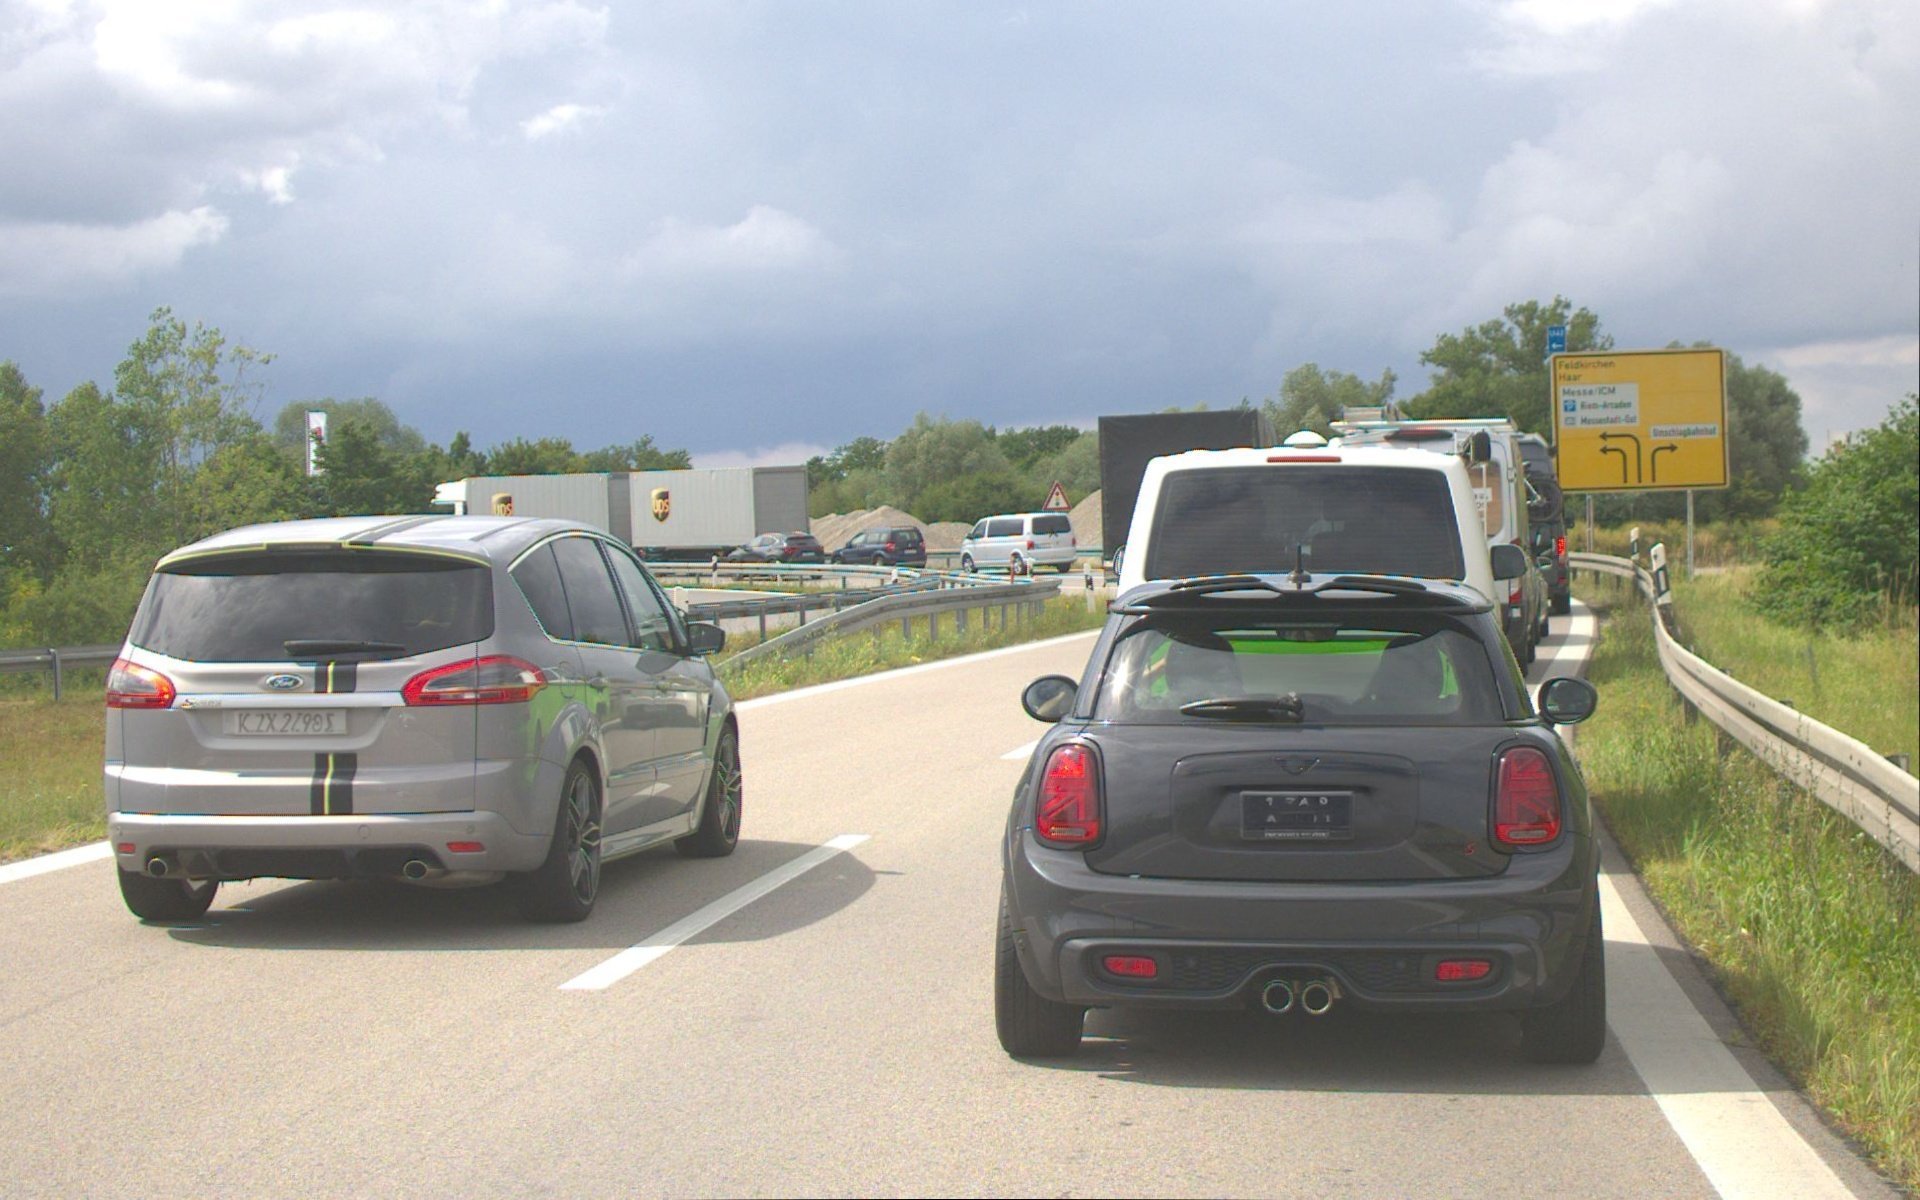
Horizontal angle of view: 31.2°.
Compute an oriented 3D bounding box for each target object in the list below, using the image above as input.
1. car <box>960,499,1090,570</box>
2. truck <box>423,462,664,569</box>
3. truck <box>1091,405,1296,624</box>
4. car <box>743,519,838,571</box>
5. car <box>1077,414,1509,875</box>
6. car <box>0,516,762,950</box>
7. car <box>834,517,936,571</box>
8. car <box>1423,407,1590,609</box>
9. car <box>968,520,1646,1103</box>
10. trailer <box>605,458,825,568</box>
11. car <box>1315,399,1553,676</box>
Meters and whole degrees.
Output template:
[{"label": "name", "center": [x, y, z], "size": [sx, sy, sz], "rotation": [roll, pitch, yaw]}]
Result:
[{"label": "car", "center": [2.105, -2.131, 113.300], "size": [2.289, 2.252, 5.108], "rotation": [1, 0, -25]}, {"label": "truck", "center": [-16.160, -3.248, 132.876], "size": [10.018, 3.962, 2.839], "rotation": [1, 0, 37]}, {"label": "truck", "center": [3.750, -1.256, 53.711], "size": [2.561, 3.157, 7.465], "rotation": [1, 0, 9]}, {"label": "car", "center": [-5.876, -1.895, 118.903], "size": [1.812, 1.750, 4.001], "rotation": [1, 0, -27]}, {"label": "car", "center": [1.782, 0.176, 17.418], "size": [1.911, 2.038, 4.179], "rotation": [0, 0, 8]}, {"label": "car", "center": [-2.306, 0.490, 14.951], "size": [2.021, 1.572, 4.585], "rotation": [-1, 0, 8]}, {"label": "car", "center": [-2.659, -1.945, 120.890], "size": [1.921, 1.831, 4.318], "rotation": [1, 0, -27]}, {"label": "car", "center": [8.933, -1.405, 55.777], "size": [2.312, 3.058, 6.658], "rotation": [1, 0, 12]}, {"label": "car", "center": [1.096, 0.537, 11.086], "size": [1.800, 1.541, 3.738], "rotation": [0, 1, 5]}, {"label": "trailer", "center": [-9.106, -3.152, 126.782], "size": [8.767, 3.885, 3.038], "rotation": [1, 0, 45]}, {"label": "car", "center": [4.930, -0.604, 35.464], "size": [2.212, 2.613, 5.532], "rotation": [1, 0, 9]}]
